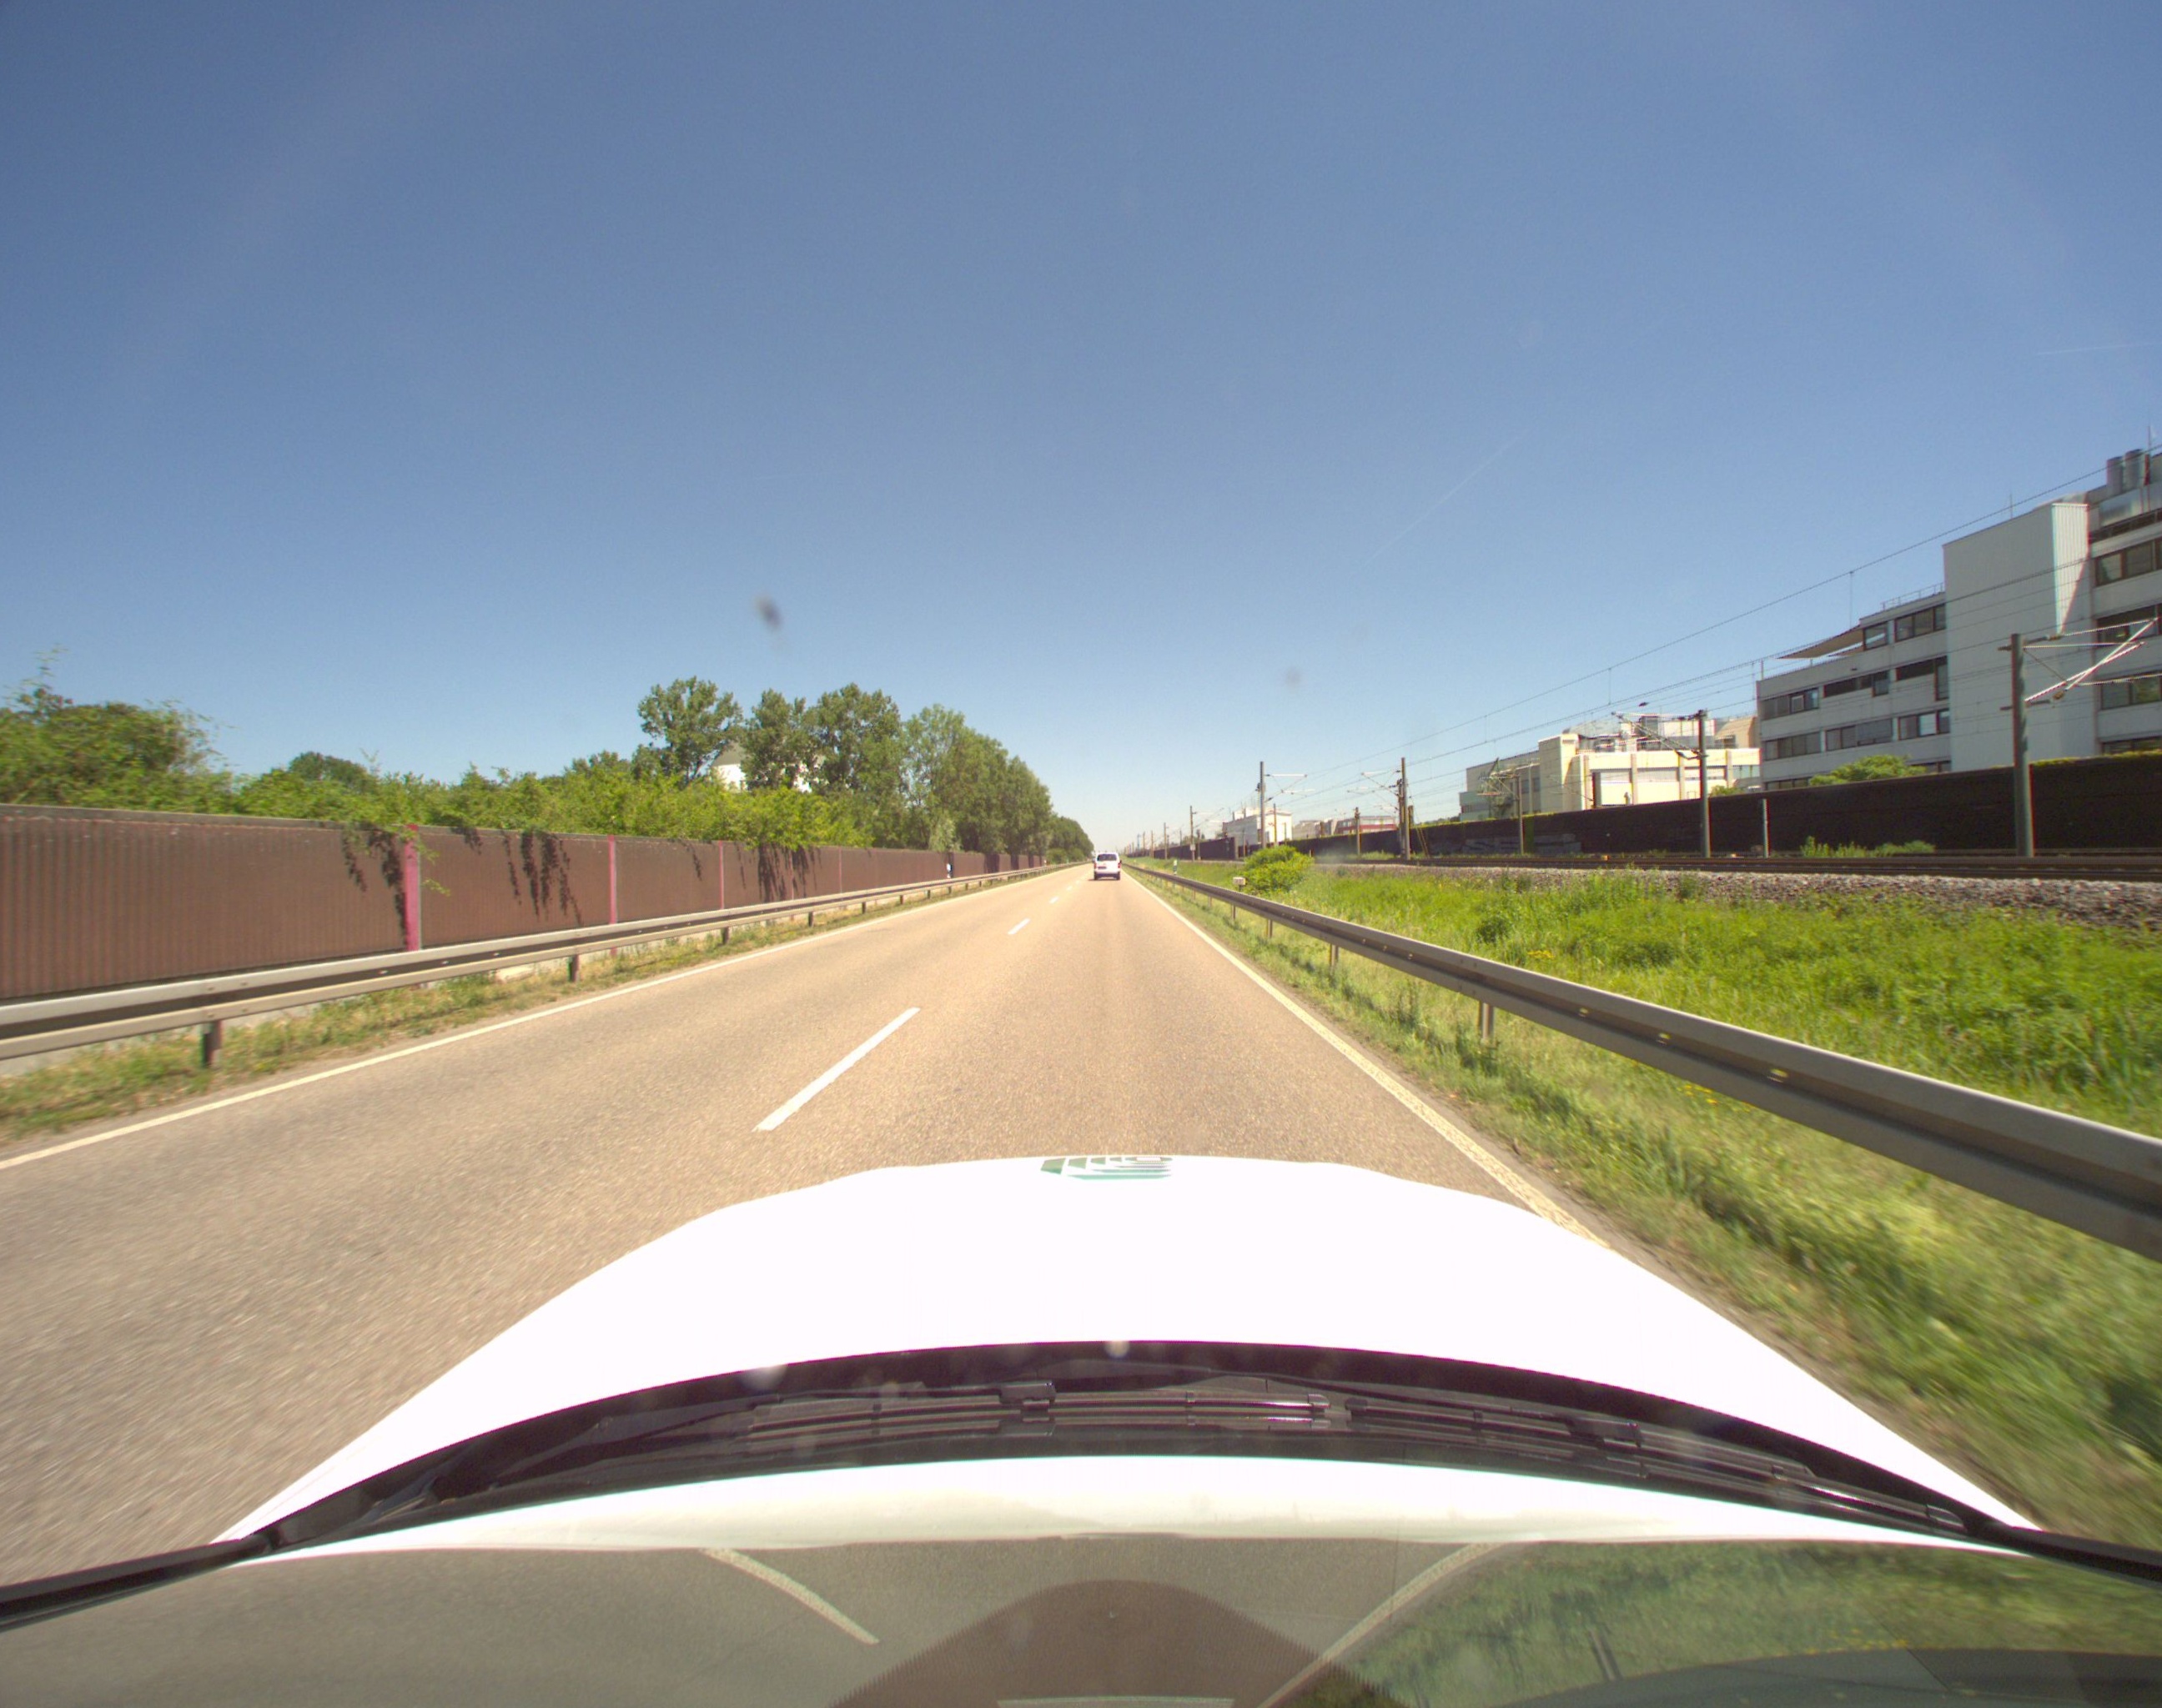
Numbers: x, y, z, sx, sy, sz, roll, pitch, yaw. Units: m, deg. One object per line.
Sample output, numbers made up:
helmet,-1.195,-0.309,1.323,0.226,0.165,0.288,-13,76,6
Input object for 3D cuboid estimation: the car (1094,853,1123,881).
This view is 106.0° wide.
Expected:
car,1.972,0.899,57.861,1.986,1.850,4.002,1,0,2
